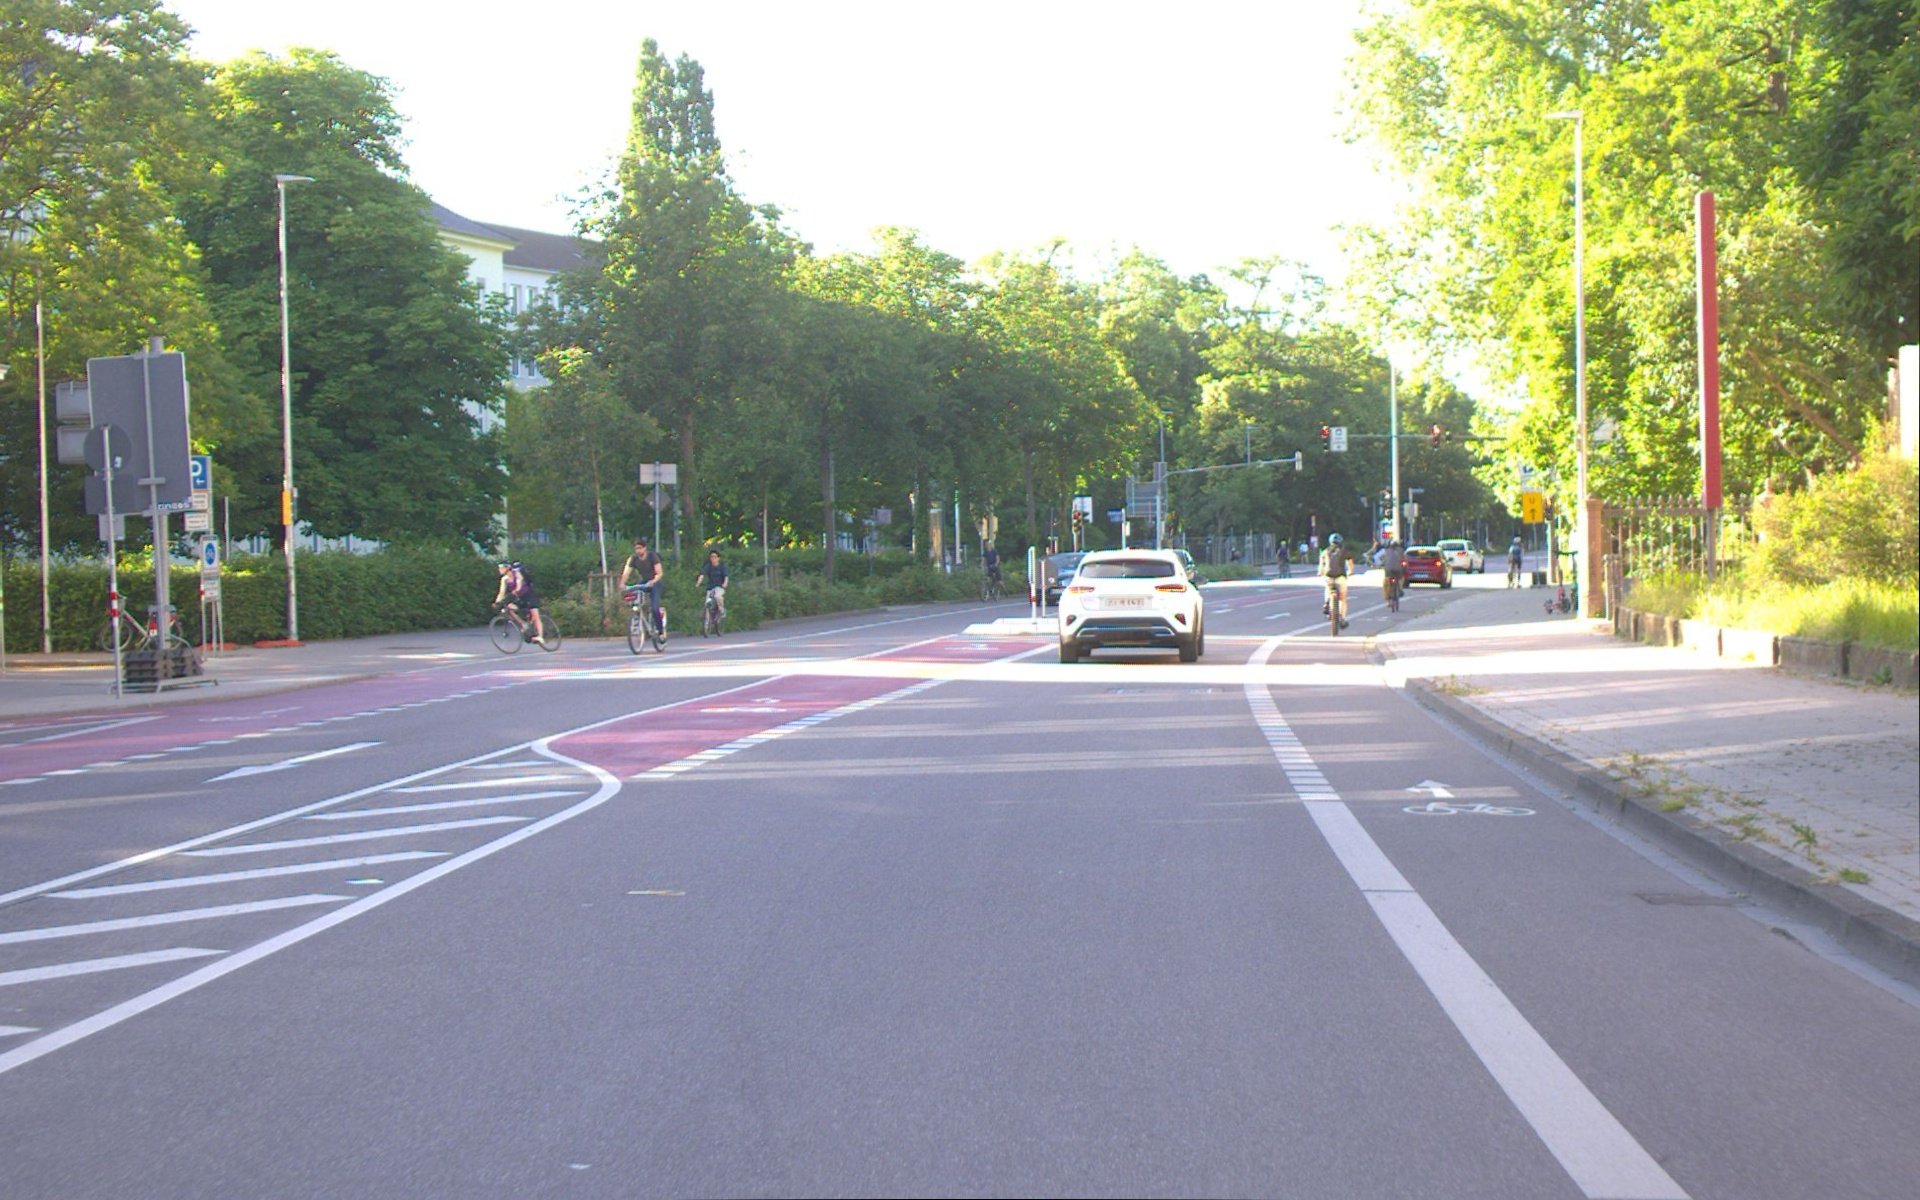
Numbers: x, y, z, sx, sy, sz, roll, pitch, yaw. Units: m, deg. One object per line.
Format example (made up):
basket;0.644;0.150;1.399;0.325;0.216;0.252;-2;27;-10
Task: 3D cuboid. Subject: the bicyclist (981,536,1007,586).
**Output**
bicyclist;1.057;-1.220;106.897;0.629;1.517;0.724;-4;1;9

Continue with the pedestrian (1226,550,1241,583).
pedestrian;15.647;-1.911;196.696;0.651;1.881;0.662;-2;1;14

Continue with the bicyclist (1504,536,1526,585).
bicyclist;19.634;-1.402;121.665;0.750;1.744;0.843;0;1;11

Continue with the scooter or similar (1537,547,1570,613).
scooter or similar;11.315;-0.387;65.529;0.297;1.235;1.161;-2;1;-5

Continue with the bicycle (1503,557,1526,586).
bicycle;19.622;-1.021;121.652;0.753;1.022;1.868;0;0;11

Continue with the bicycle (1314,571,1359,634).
bicycle;6.384;0.037;58.250;0.643;1.021;2.212;0;1;9

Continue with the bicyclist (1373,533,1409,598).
bicyclist;10.158;-0.813;81.019;0.747;1.532;0.969;0;1;11

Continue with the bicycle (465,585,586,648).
bicycle;-7.553;0.283;59.838;0.739;0.992;2.104;-1;2;40

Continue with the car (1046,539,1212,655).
car;2.324;-0.068;46.359;1.994;1.448;3.999;-2;1;6

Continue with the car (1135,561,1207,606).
car;7.234;-0.568;117.421;1.759;1.454;3.998;-1;1;14

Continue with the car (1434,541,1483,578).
car;21.882;-1.777;150.803;1.738;1.541;3.998;-1;1;13

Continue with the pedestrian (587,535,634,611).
pedestrian;-8.636;-0.669;84.918;0.856;1.845;1.001;-2;1;10

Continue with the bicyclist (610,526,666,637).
bicyclist;-5.093;-0.303;54.463;0.635;1.704;0.738;-4;1;6

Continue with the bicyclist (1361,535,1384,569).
bicyclist;18.818;-2.184;156.924;0.923;1.503;0.506;-1;1;19

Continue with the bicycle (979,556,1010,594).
bicycle;1.076;-0.783;106.890;0.597;1.117;2.026;-4;0;9

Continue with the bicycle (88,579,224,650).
bicycle;-14.496;0.263;61.996;2.321;1.225;0.560;-1;1;10

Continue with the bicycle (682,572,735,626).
bicycle;-4.953;-0.022;67.845;0.651;0.992;2.109;-3;1;6

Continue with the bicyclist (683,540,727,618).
bicyclist;-5.014;-0.418;67.756;0.656;1.480;0.665;-4;1;6

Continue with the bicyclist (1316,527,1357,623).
bicyclist;6.384;-0.434;58.270;0.636;1.609;1.283;0;1;9

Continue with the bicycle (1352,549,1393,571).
bicycle;18.842;-1.827;156.924;1.767;0.986;0.512;-1;1;19

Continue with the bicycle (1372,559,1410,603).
bicycle;10.151;-0.452;80.938;0.753;1.022;1.868;0;0;11

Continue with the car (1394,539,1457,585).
car;16.378;-1.343;120.857;1.930;1.528;3.998;-2;1;11

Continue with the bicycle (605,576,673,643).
bicycle;-5.065;0.140;54.382;0.646;0.992;2.109;-3;1;6

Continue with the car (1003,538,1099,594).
car;2.487;-0.927;92.515;1.812;1.415;4.553;-1;1;11

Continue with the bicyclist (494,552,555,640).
bicyclist;-7.577;-0.069;59.844;0.739;1.480;0.663;-2;1;41
